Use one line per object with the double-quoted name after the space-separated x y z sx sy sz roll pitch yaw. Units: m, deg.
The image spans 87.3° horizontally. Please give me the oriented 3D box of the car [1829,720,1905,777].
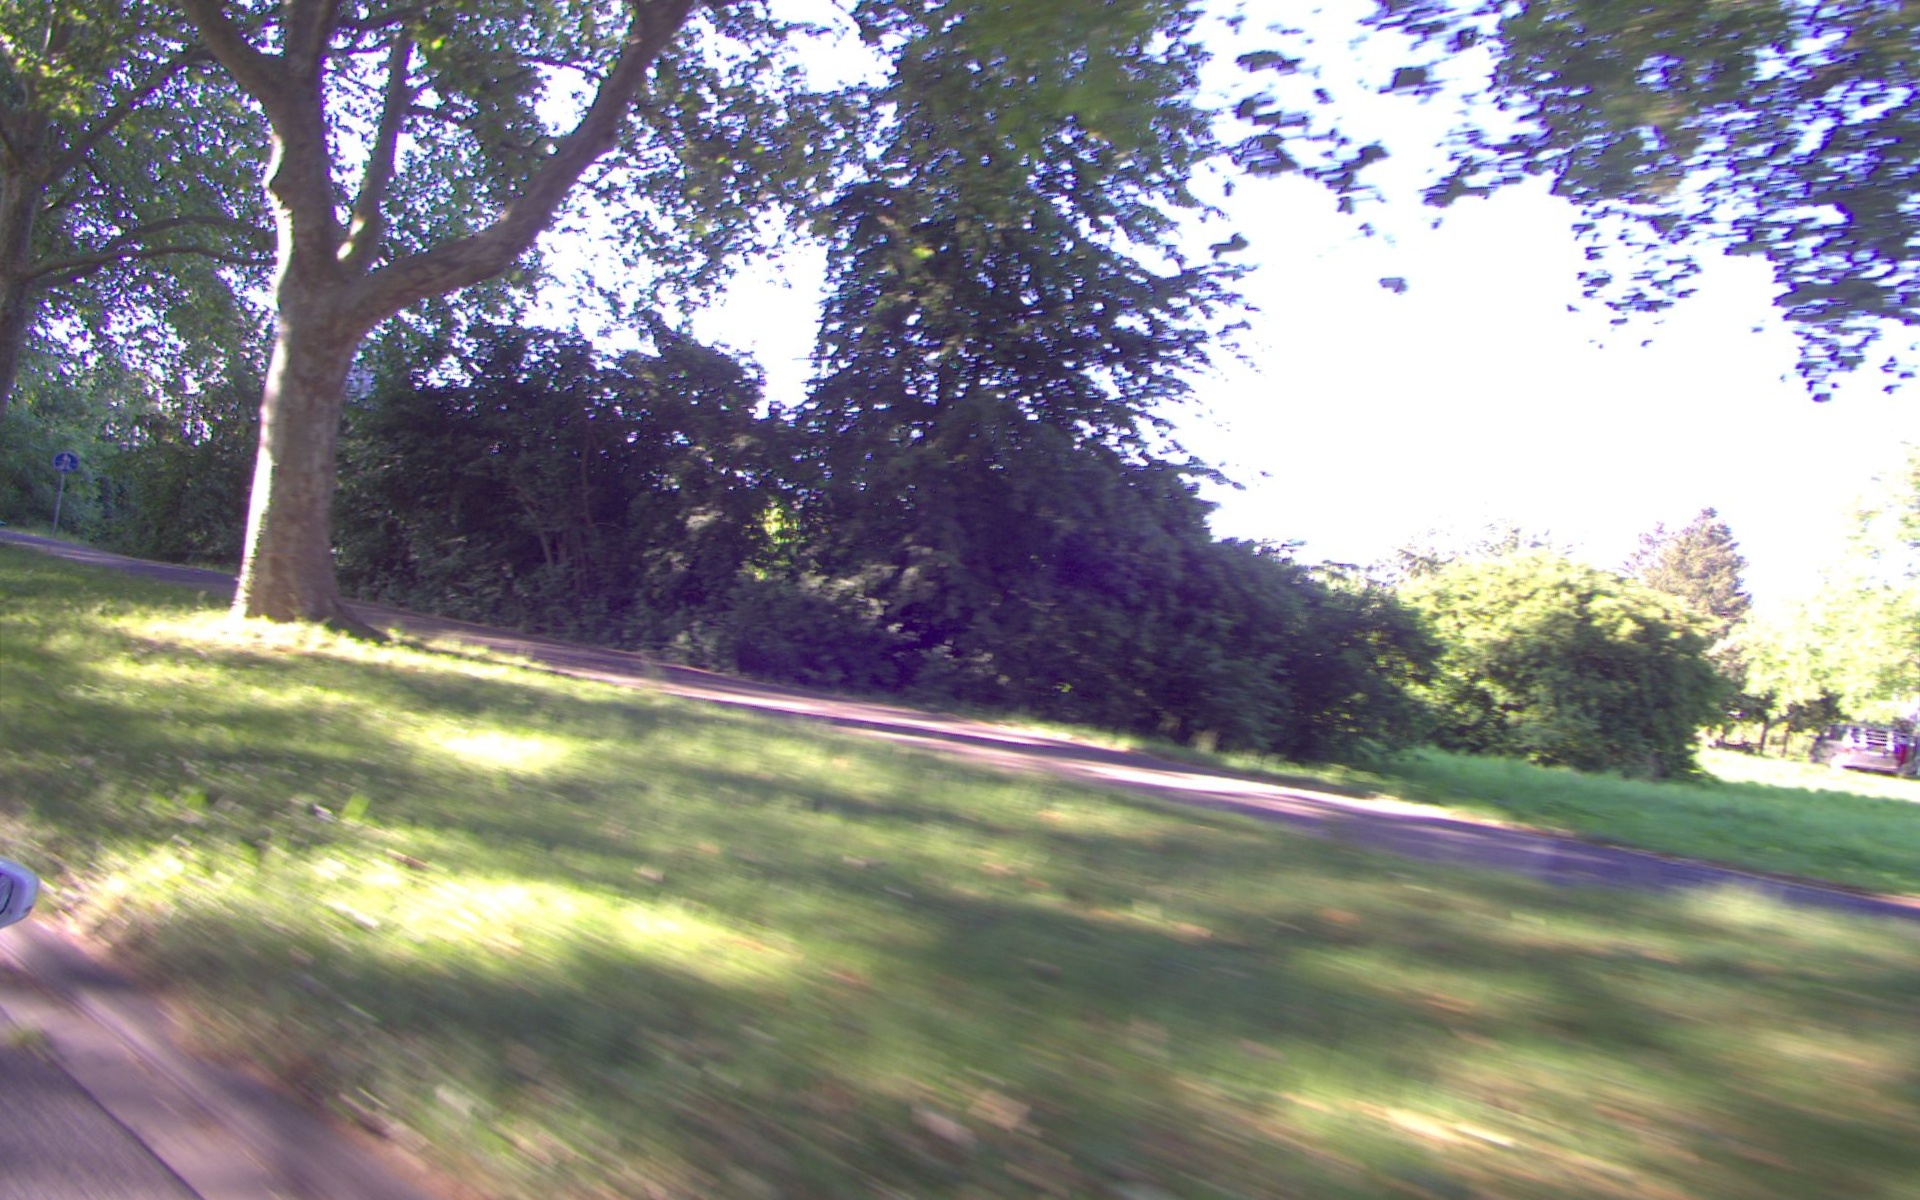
37.476 6.114 41.659 1.906 1.970 3.987 5 -3 38 "car"
